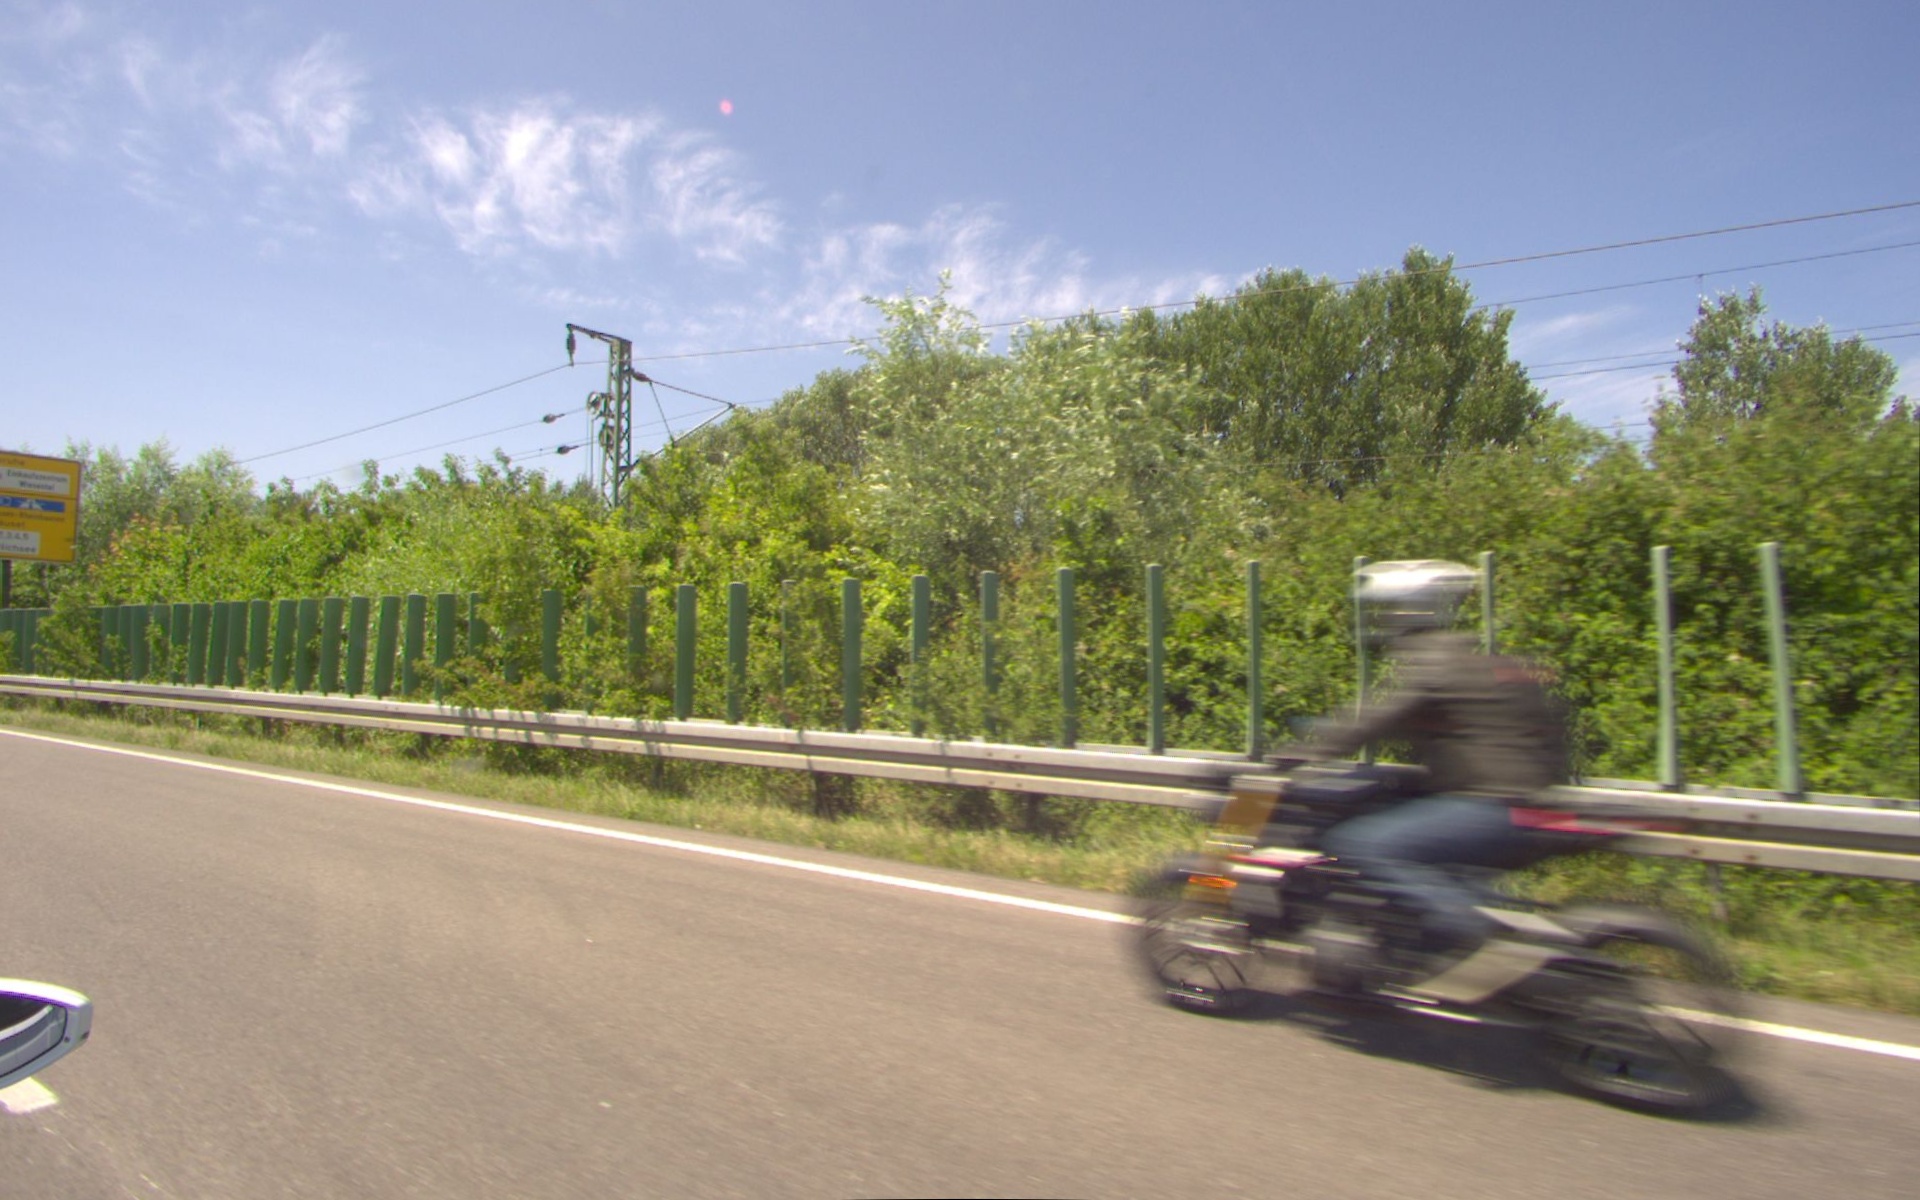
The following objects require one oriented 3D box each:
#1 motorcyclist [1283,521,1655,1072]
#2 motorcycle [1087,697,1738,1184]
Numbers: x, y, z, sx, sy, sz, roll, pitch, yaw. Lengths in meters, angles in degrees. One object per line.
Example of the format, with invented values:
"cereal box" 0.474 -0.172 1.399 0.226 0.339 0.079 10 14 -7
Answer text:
"motorcyclist" 1.705 0.554 3.372 0.988 1.495 0.888 -1 -1 32
"motorcycle" 1.466 0.977 3.484 1.874 1.172 0.789 -1 -2 32
